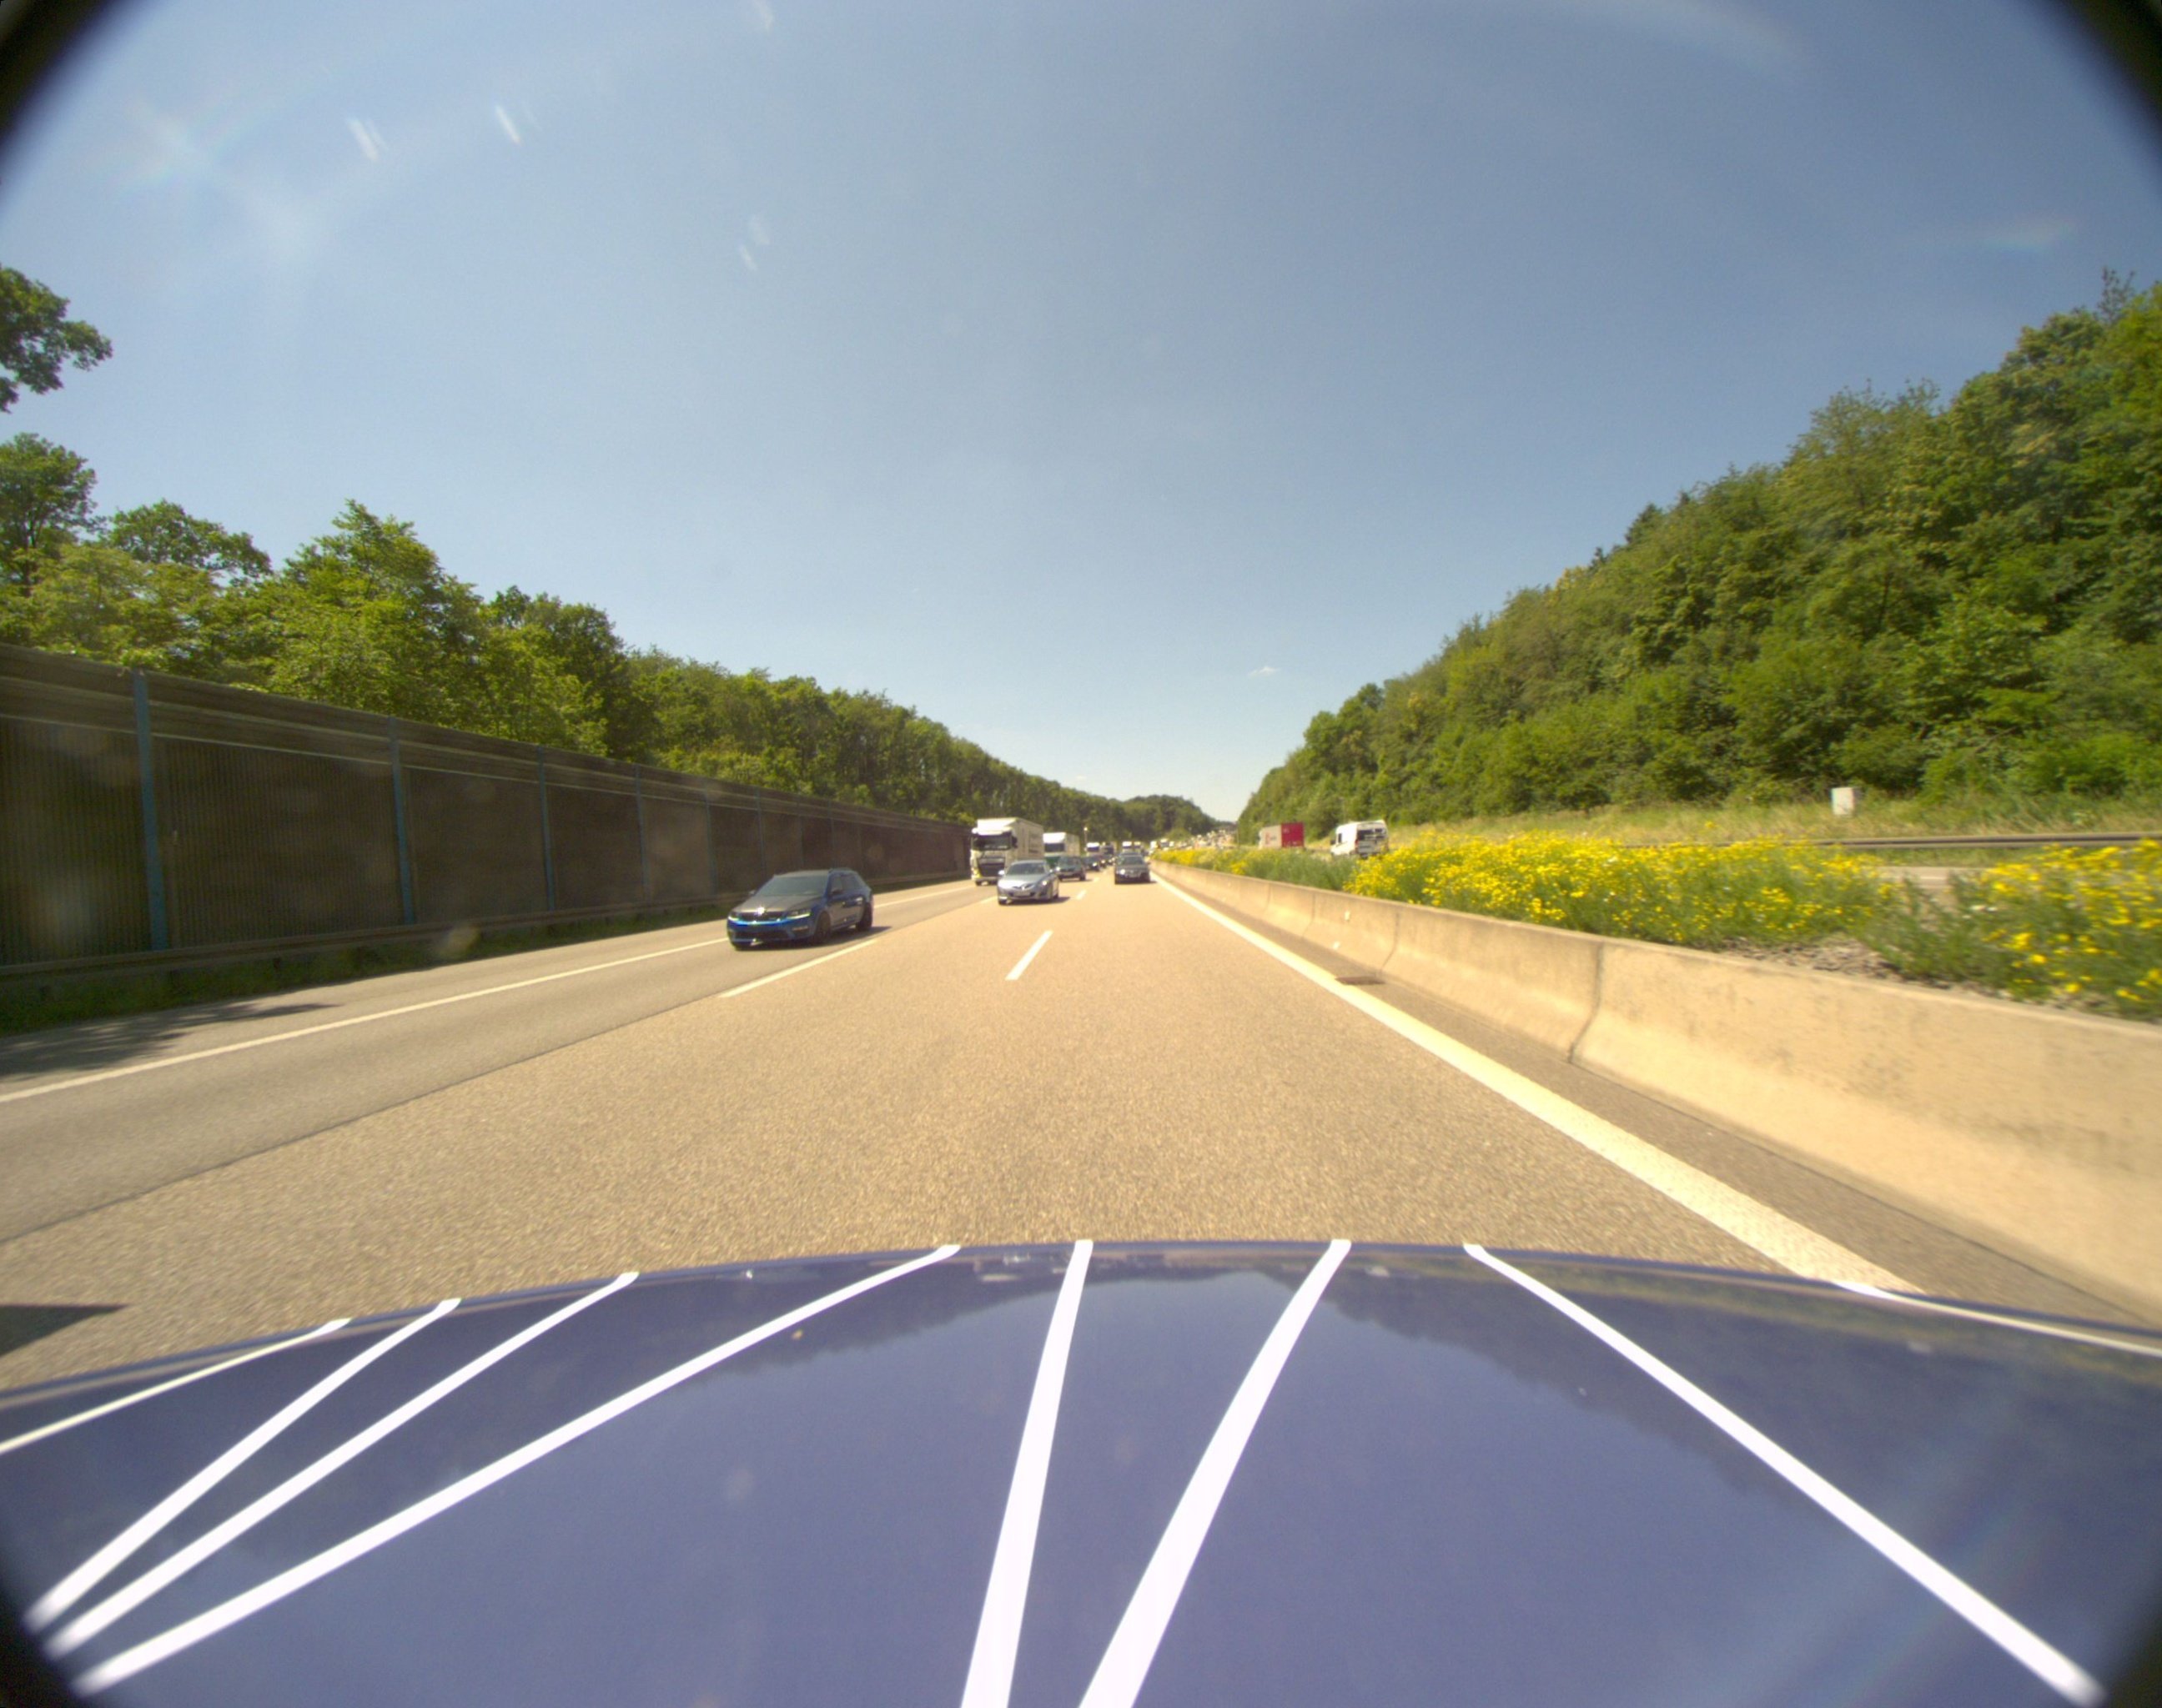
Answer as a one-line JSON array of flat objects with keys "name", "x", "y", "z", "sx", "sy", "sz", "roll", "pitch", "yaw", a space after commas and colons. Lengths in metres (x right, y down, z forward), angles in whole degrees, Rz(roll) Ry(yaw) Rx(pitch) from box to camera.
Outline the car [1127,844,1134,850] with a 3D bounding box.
[{"name": "car", "x": 15.180, "y": -2.076, "z": 234.201, "sx": 1.998, "sy": 1.641, "sz": 4.000, "roll": -3, "pitch": 1, "yaw": 3}]

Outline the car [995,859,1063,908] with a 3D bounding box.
[{"name": "car", "x": -1.694, "y": 0.944, "z": 26.243, "sx": 1.860, "sy": 1.426, "sz": 4.177, "roll": -3, "pitch": 0, "yaw": 2}]

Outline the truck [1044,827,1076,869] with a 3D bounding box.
[{"name": "truck", "x": -2.145, "y": -0.592, "z": 79.151, "sx": 2.544, "sy": 4.150, "sz": 4.746, "roll": -3, "pitch": 0, "yaw": 6}]

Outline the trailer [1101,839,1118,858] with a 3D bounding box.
[{"name": "trailer", "x": 6.653, "y": -1.225, "z": 173.569, "sx": 3.154, "sy": 4.061, "sz": 6.185, "roll": -3, "pitch": 0, "yaw": 7}]

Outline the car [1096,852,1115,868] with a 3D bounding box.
[{"name": "car", "x": 2.709, "y": 0.633, "z": 83.583, "sx": 1.998, "sy": 1.641, "sz": 4.000, "roll": -3, "pitch": 1, "yaw": 3}]

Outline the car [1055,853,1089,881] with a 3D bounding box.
[{"name": "car", "x": -0.494, "y": 0.751, "z": 45.859, "sx": 1.907, "sy": 1.550, "sz": 4.000, "roll": -3, "pitch": 0, "yaw": 0}]

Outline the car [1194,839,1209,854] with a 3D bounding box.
[{"name": "car", "x": 20.014, "y": -1.221, "z": 126.287, "sx": 1.998, "sy": 2.385, "sz": 4.001, "roll": -3, "pitch": 0, "yaw": 4}]

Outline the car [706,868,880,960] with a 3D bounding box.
[{"name": "car", "x": -5.792, "y": 1.134, "z": 15.907, "sx": 1.860, "sy": 1.485, "sz": 4.177, "roll": -3, "pitch": 0, "yaw": 2}]

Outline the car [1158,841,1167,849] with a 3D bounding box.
[{"name": "car", "x": 21.631, "y": -2.406, "z": 201.427, "sx": 1.998, "sy": 2.002, "sz": 4.001, "roll": -3, "pitch": 0, "yaw": 4}]

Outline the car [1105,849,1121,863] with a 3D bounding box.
[{"name": "car", "x": 4.354, "y": 0.233, "z": 102.011, "sx": 1.998, "sy": 1.641, "sz": 4.000, "roll": -3, "pitch": 1, "yaw": 3}]

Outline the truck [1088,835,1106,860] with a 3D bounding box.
[{"name": "truck", "x": 2.948, "y": -1.239, "z": 139.829, "sx": 2.853, "sy": 4.382, "sz": 5.240, "roll": -3, "pitch": 0, "yaw": 4}]

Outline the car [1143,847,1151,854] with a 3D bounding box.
[{"name": "car", "x": 16.934, "y": -0.944, "z": 195.365, "sx": 1.998, "sy": 1.641, "sz": 4.000, "roll": -3, "pitch": 1, "yaw": 3}]

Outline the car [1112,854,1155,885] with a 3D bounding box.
[{"name": "car", "x": 2.655, "y": 0.750, "z": 39.146, "sx": 1.907, "sy": 1.410, "sz": 4.000, "roll": -3, "pitch": 0, "yaw": 0}]

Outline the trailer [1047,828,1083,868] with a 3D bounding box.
[{"name": "trailer", "x": -1.623, "y": -0.669, "z": 84.402, "sx": 2.541, "sy": 4.150, "sz": 10.180, "roll": -3, "pitch": 0, "yaw": 6}]

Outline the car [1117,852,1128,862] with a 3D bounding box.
[{"name": "car", "x": 7.774, "y": 0.571, "z": 141.940, "sx": 1.998, "sy": 1.641, "sz": 4.000, "roll": -3, "pitch": 1, "yaw": 3}]

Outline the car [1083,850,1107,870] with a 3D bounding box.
[{"name": "car", "x": 1.279, "y": 0.478, "z": 68.435, "sx": 1.998, "sy": 1.641, "sz": 4.000, "roll": -3, "pitch": 0, "yaw": 1}]

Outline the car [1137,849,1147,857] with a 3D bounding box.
[{"name": "car", "x": 13.389, "y": -0.317, "z": 165.843, "sx": 1.998, "sy": 1.641, "sz": 4.000, "roll": -3, "pitch": 1, "yaw": 3}]

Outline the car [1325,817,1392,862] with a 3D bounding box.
[{"name": "car", "x": 17.490, "y": -0.916, "z": 48.174, "sx": 2.161, "sy": 2.608, "sz": 5.976, "roll": -2, "pitch": 1, "yaw": 2}]

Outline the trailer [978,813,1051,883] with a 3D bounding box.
[{"name": "trailer", "x": -4.432, "y": -0.421, "z": 54.305, "sx": 2.821, "sy": 4.190, "sz": 13.467, "roll": -3, "pitch": 0, "yaw": 4}]

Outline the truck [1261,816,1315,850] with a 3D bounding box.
[{"name": "truck", "x": 25.528, "y": -2.522, "z": 94.710, "sx": 3.929, "sy": 3.697, "sz": 16.746, "roll": -2, "pitch": 1, "yaw": 7}]

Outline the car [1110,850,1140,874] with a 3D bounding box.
[{"name": "car", "x": 3.263, "y": 0.560, "z": 56.796, "sx": 1.998, "sy": 1.641, "sz": 3.999, "roll": -3, "pitch": 1, "yaw": 1}]

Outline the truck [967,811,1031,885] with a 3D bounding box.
[{"name": "truck", "x": -4.992, "y": -0.344, "z": 47.314, "sx": 2.811, "sy": 4.190, "sz": 5.422, "roll": -3, "pitch": 0, "yaw": 5}]

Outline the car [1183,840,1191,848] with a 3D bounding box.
[{"name": "car", "x": 28.931, "y": -2.701, "z": 207.869, "sx": 1.998, "sy": 2.002, "sz": 4.001, "roll": -3, "pitch": 0, "yaw": 5}]
